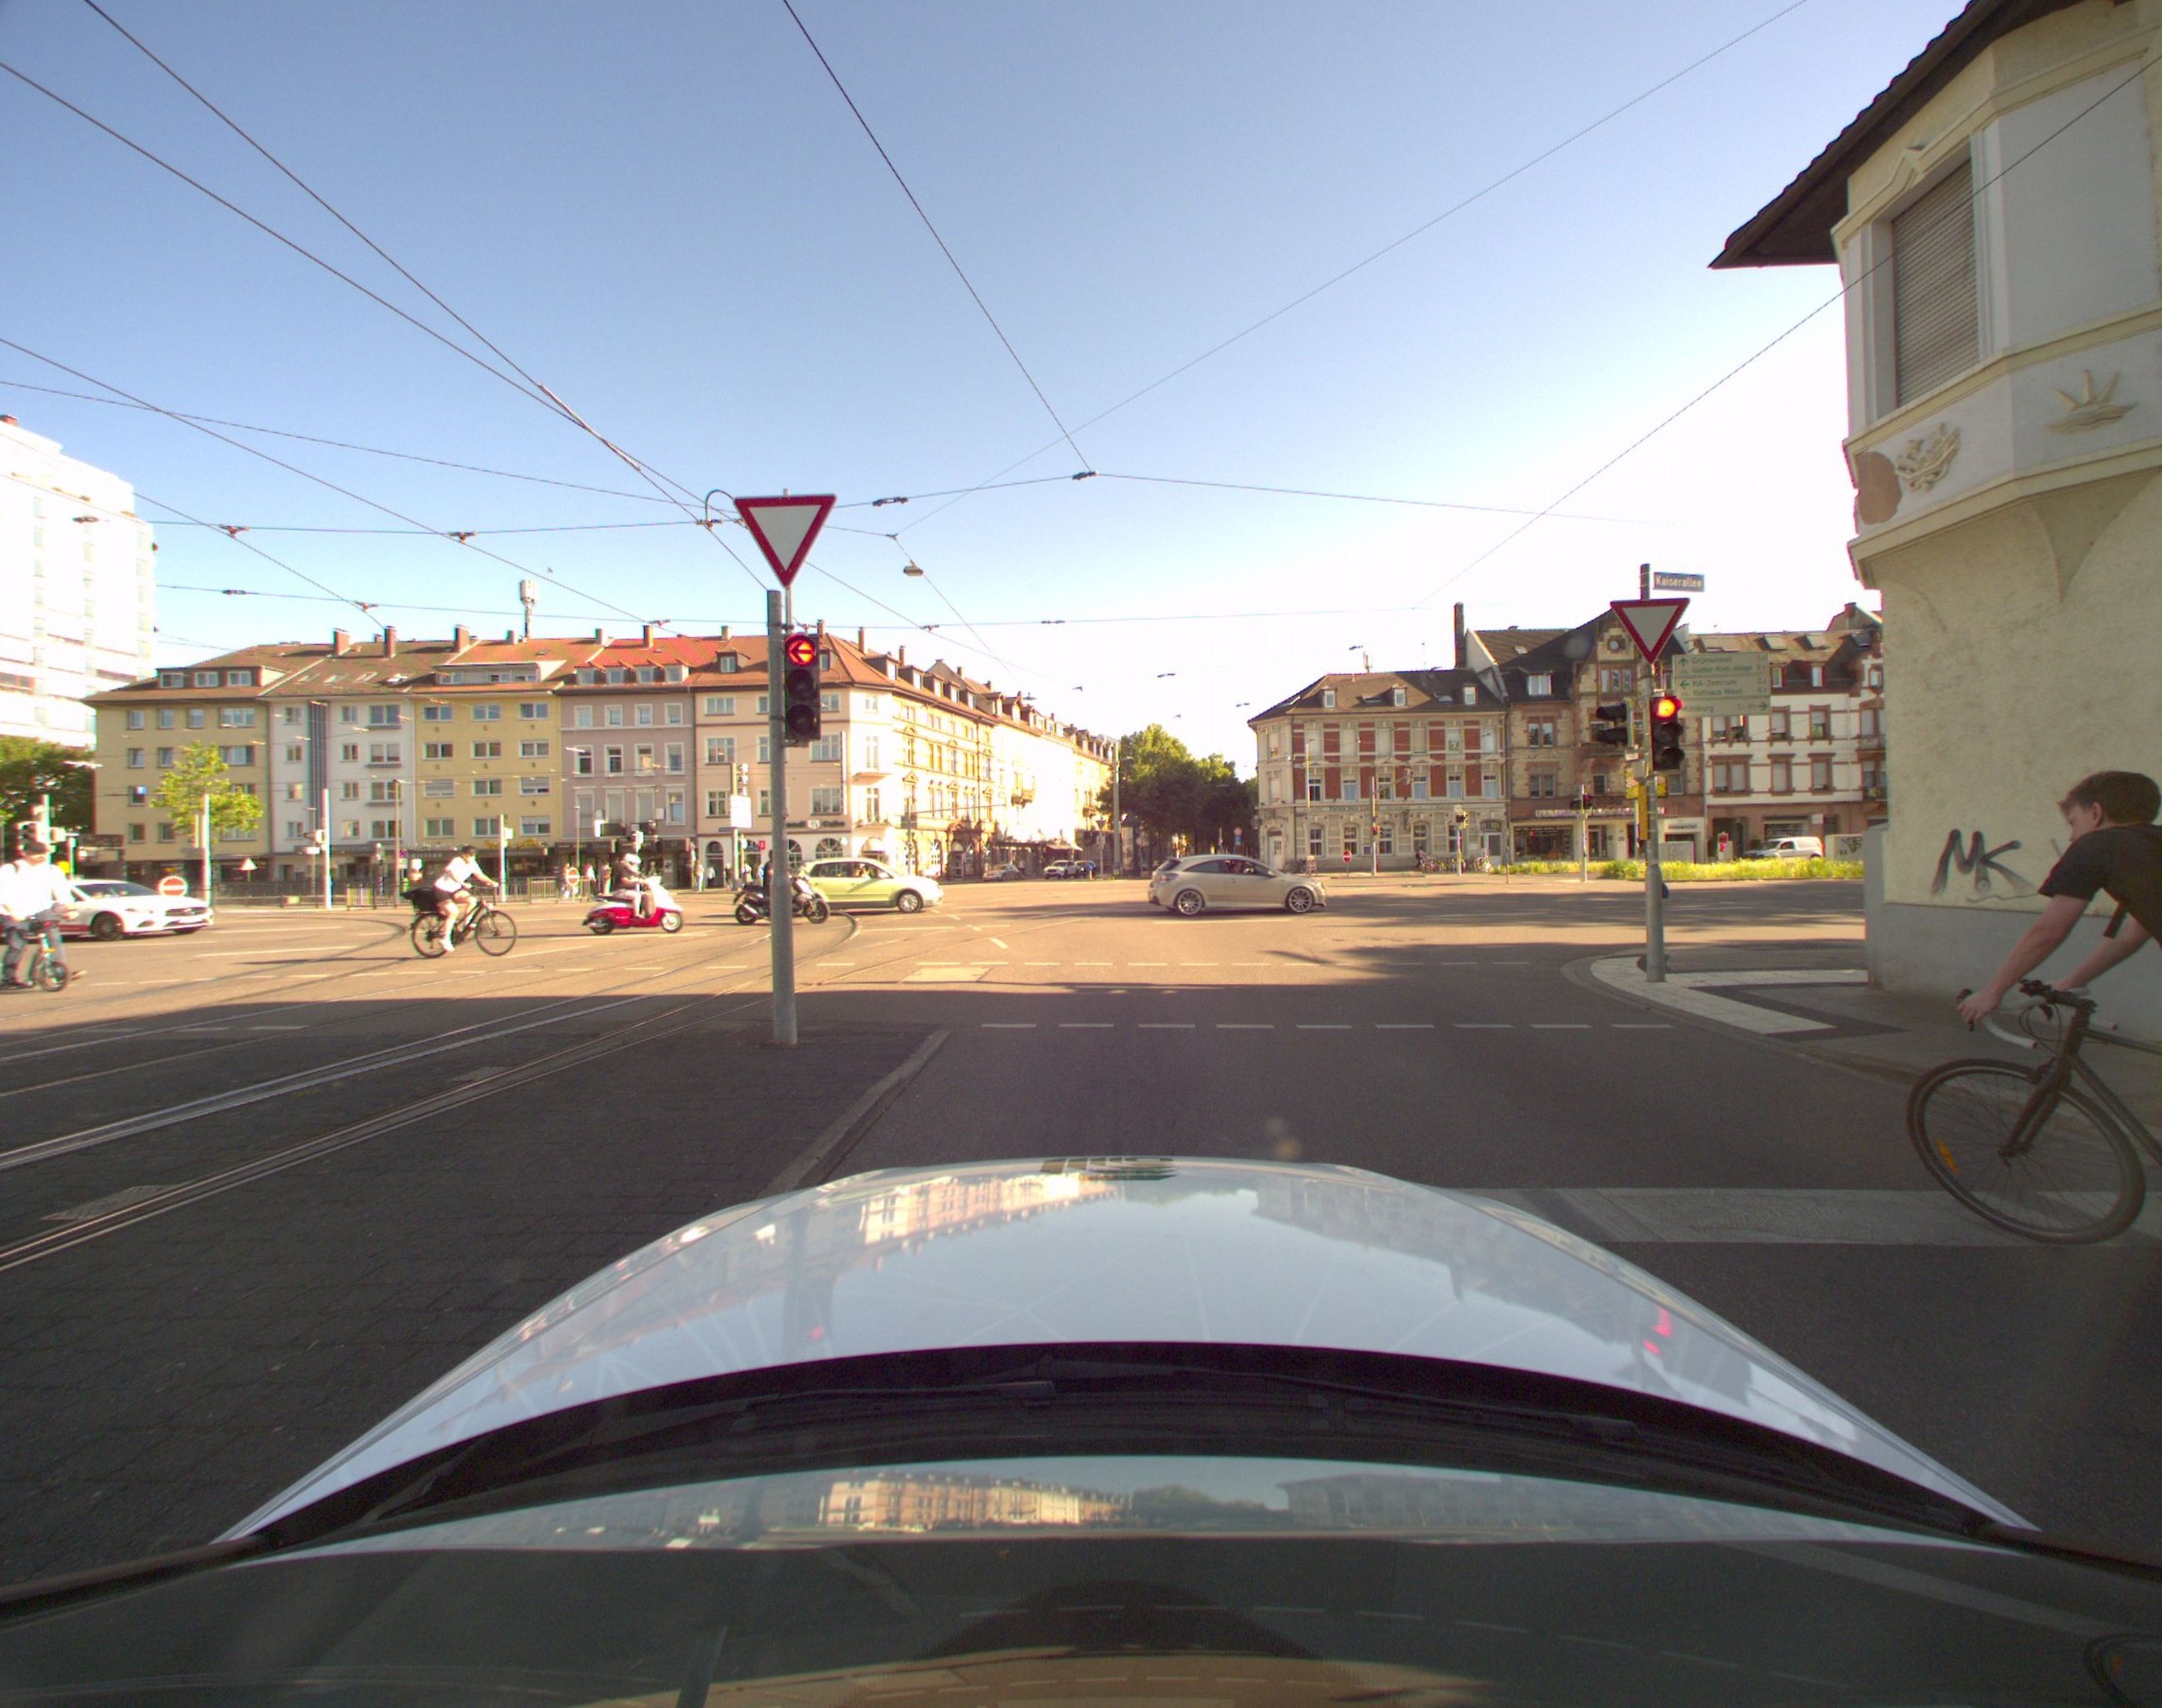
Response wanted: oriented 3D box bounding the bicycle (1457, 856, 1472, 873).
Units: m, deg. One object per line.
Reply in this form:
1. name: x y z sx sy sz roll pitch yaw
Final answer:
1. bicycle: 24.821 0.679 52.716 0.483 1.020 1.789 -1 0 12

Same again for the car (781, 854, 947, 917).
1. car: -5.613 0.786 21.458 3.949 1.498 1.738 -1 0 -6

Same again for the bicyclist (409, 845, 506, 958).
1. bicyclist: -9.806 0.722 12.836 0.937 1.713 0.732 -1 0 -6

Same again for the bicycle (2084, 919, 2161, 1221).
1. bicycle: 4.508 0.858 2.489 0.568 1.165 1.890 -1 0 2

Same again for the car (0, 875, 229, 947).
1. car: -23.887 1.355 19.630 4.658 1.473 1.740 -2 0 -2

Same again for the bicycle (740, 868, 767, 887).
1. bicycle: -23.151 1.661 57.667 1.714 1.276 0.385 -1 0 -16

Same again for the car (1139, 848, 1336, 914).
1. car: 3.629 0.609 19.304 4.262 1.441 1.738 -1 -1 -6

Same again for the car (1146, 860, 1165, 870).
1. car: 11.202 1.694 122.502 1.977 1.404 4.189 -1 0 18

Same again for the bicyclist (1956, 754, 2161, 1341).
1. bicyclist: 3.563 0.576 2.501 0.649 1.767 0.995 -1 0 2

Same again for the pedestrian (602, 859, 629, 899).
1. pedestrian: -21.483 1.147 37.602 0.764 1.829 0.723 -1 0 1

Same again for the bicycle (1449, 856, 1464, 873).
1. bicycle: 24.318 0.683 52.807 0.483 1.020 1.789 -1 0 12

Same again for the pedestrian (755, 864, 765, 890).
1. pedestrian: -15.818 1.133 40.114 0.364 1.253 0.449 -1 0 -10

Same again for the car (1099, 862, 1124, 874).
1. car: 3.835 1.716 102.176 1.977 1.404 4.189 -1 0 18

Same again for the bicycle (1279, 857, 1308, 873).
1. bicycle: 14.916 0.753 57.141 1.940 1.054 0.717 -1 0 11

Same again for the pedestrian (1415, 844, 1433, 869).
1. pedestrian: 23.837 0.178 56.535 1.029 1.712 0.631 -1 -1 10

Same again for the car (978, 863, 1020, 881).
1. car: -6.756 1.479 67.363 1.977 1.361 3.836 -1 0 18

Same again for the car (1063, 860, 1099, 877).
1. car: 0.034 1.314 73.807 1.977 1.404 4.189 -1 0 18

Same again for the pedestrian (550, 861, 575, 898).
1. pedestrian: -23.517 1.140 36.954 0.738 1.635 0.572 -1 0 1

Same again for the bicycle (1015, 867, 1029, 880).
1. bicycle: -4.759 1.533 65.569 0.650 1.000 1.671 -1 -1 14

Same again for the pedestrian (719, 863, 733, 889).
1. pedestrian: -23.071 1.409 52.931 0.744 1.682 0.623 -1 0 -23

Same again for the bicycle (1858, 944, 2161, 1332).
1. bicycle: 3.564 0.919 2.503 0.568 1.058 1.890 -1 0 2

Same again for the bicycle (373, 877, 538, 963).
1. bicycle: -9.786 1.011 12.806 1.920 1.223 0.741 -1 0 -6

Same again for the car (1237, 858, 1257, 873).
1. car: 16.803 1.135 82.294 1.742 1.420 4.016 -1 0 14

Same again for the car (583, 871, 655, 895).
1. car: -30.342 1.900 53.534 3.711 1.491 1.820 0 -1 4

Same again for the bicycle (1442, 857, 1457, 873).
1. bicycle: 23.858 0.686 52.757 0.483 1.020 1.789 -1 0 12

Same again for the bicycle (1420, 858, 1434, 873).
1. bicycle: 22.486 0.734 52.979 0.483 0.914 1.789 -1 0 12

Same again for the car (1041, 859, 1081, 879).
1. car: -1.599 1.220 67.631 1.977 1.516 4.189 -1 0 18

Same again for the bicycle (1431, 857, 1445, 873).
1. bicycle: 23.163 0.724 52.875 0.483 1.020 1.789 -1 0 12

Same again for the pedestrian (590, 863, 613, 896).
1. pedestrian: -24.939 1.308 42.343 0.764 1.682 0.628 -1 0 1

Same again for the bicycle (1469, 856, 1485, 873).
1. bicycle: 25.632 0.673 52.764 0.483 1.020 1.789 -1 0 12

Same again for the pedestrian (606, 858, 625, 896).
1. pedestrian: -22.245 1.095 38.902 0.558 1.786 0.560 -1 0 1

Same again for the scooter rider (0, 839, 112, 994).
1. scooter rider: -13.388 0.784 10.499 0.792 1.912 0.797 -1 0 1

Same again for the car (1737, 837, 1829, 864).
1. car: 45.295 -0.241 52.603 4.239 1.622 1.999 -1 0 -1

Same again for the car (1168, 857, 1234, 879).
1. car: 7.783 0.919 53.104 4.022 1.300 1.733 -1 0 45

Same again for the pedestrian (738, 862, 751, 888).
1. pedestrian: -21.853 1.344 52.812 0.744 1.682 0.623 -1 0 -23

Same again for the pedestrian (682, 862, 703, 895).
1. pedestrian: -20.138 1.275 42.248 0.738 1.682 0.628 -1 0 1

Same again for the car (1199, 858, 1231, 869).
1. car: 17.338 1.230 105.162 3.959 1.288 1.700 -1 0 13

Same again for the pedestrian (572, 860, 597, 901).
1. pedestrian: -22.434 1.190 36.790 0.625 1.850 0.778 -1 0 1

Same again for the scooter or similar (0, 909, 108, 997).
1. scooter or similar: -13.546 1.259 10.454 1.426 1.043 0.565 -1 0 1

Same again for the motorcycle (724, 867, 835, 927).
1. motorcycle: -6.705 0.940 18.202 2.205 1.228 0.692 -1 0 -10

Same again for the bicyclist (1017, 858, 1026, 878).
1. bicyclist: -4.765 1.095 65.471 0.486 1.601 0.668 -1 0 12

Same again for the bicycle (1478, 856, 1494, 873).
1. bicycle: 26.337 0.670 52.919 0.483 1.020 1.789 -1 0 12

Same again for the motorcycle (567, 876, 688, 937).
1. motorcycle: -8.985 1.037 16.207 2.025 1.118 0.503 -1 0 -10

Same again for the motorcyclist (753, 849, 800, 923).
1. motorcyclist: -6.816 0.701 18.253 0.832 1.620 0.814 0 -1 -10

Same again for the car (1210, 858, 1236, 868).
1. car: 19.383 1.219 111.190 3.409 1.239 1.582 -1 0 13

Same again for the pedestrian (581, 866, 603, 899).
1. pedestrian: -23.596 1.365 39.314 0.696 1.581 0.560 -1 0 1

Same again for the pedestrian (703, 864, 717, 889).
1. pedestrian: -26.265 1.591 57.649 0.740 1.682 0.626 -1 0 -10

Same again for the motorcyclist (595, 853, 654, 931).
1. motorcyclist: -9.074 0.735 16.219 0.814 1.507 0.657 -1 0 -10
